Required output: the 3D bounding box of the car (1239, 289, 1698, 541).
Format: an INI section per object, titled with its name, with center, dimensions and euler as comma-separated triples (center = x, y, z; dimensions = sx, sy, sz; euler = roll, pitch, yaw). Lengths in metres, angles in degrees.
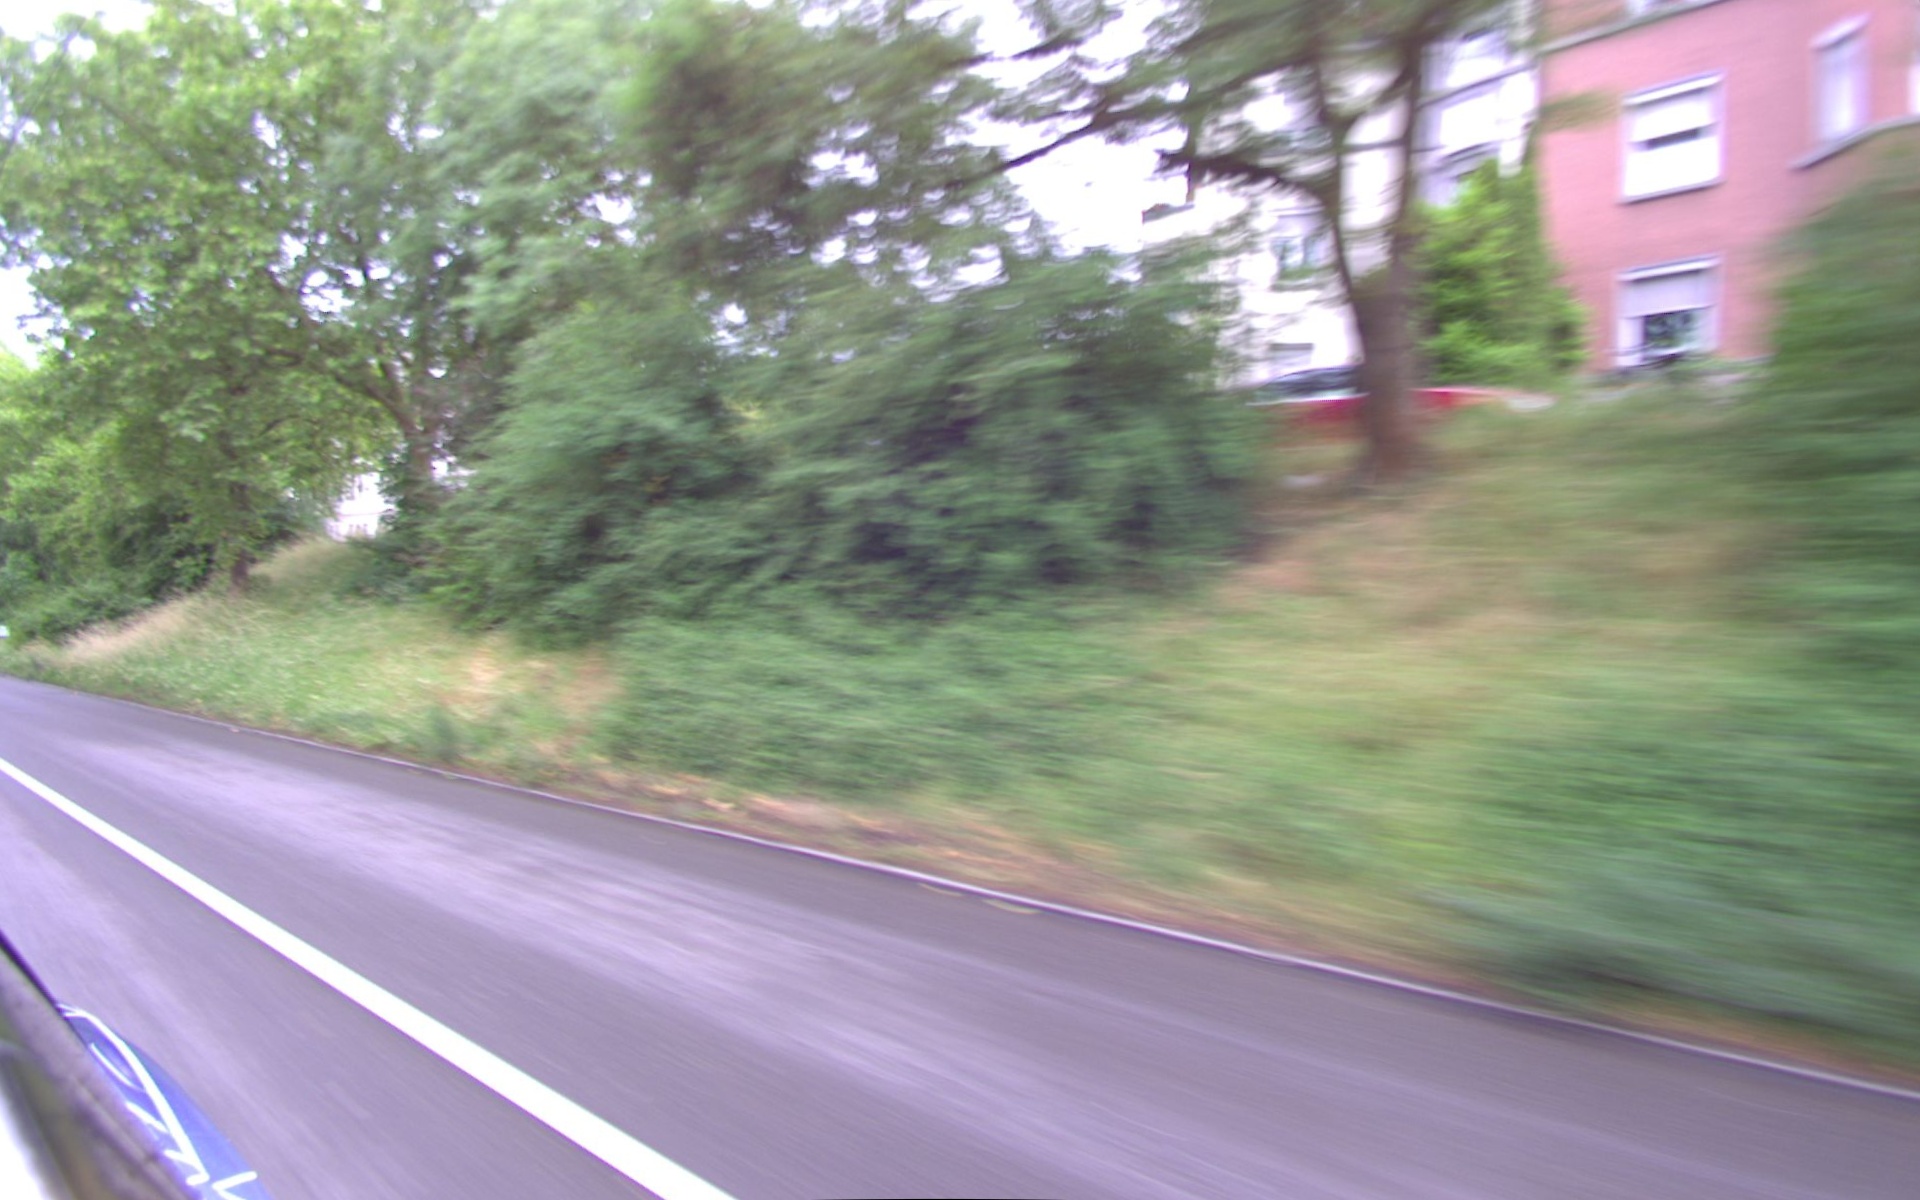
[car]
center = 5.653, -1.843, 11.531
dimensions = 4.346, 2.029, 1.974
euler = -1, -1, 39
